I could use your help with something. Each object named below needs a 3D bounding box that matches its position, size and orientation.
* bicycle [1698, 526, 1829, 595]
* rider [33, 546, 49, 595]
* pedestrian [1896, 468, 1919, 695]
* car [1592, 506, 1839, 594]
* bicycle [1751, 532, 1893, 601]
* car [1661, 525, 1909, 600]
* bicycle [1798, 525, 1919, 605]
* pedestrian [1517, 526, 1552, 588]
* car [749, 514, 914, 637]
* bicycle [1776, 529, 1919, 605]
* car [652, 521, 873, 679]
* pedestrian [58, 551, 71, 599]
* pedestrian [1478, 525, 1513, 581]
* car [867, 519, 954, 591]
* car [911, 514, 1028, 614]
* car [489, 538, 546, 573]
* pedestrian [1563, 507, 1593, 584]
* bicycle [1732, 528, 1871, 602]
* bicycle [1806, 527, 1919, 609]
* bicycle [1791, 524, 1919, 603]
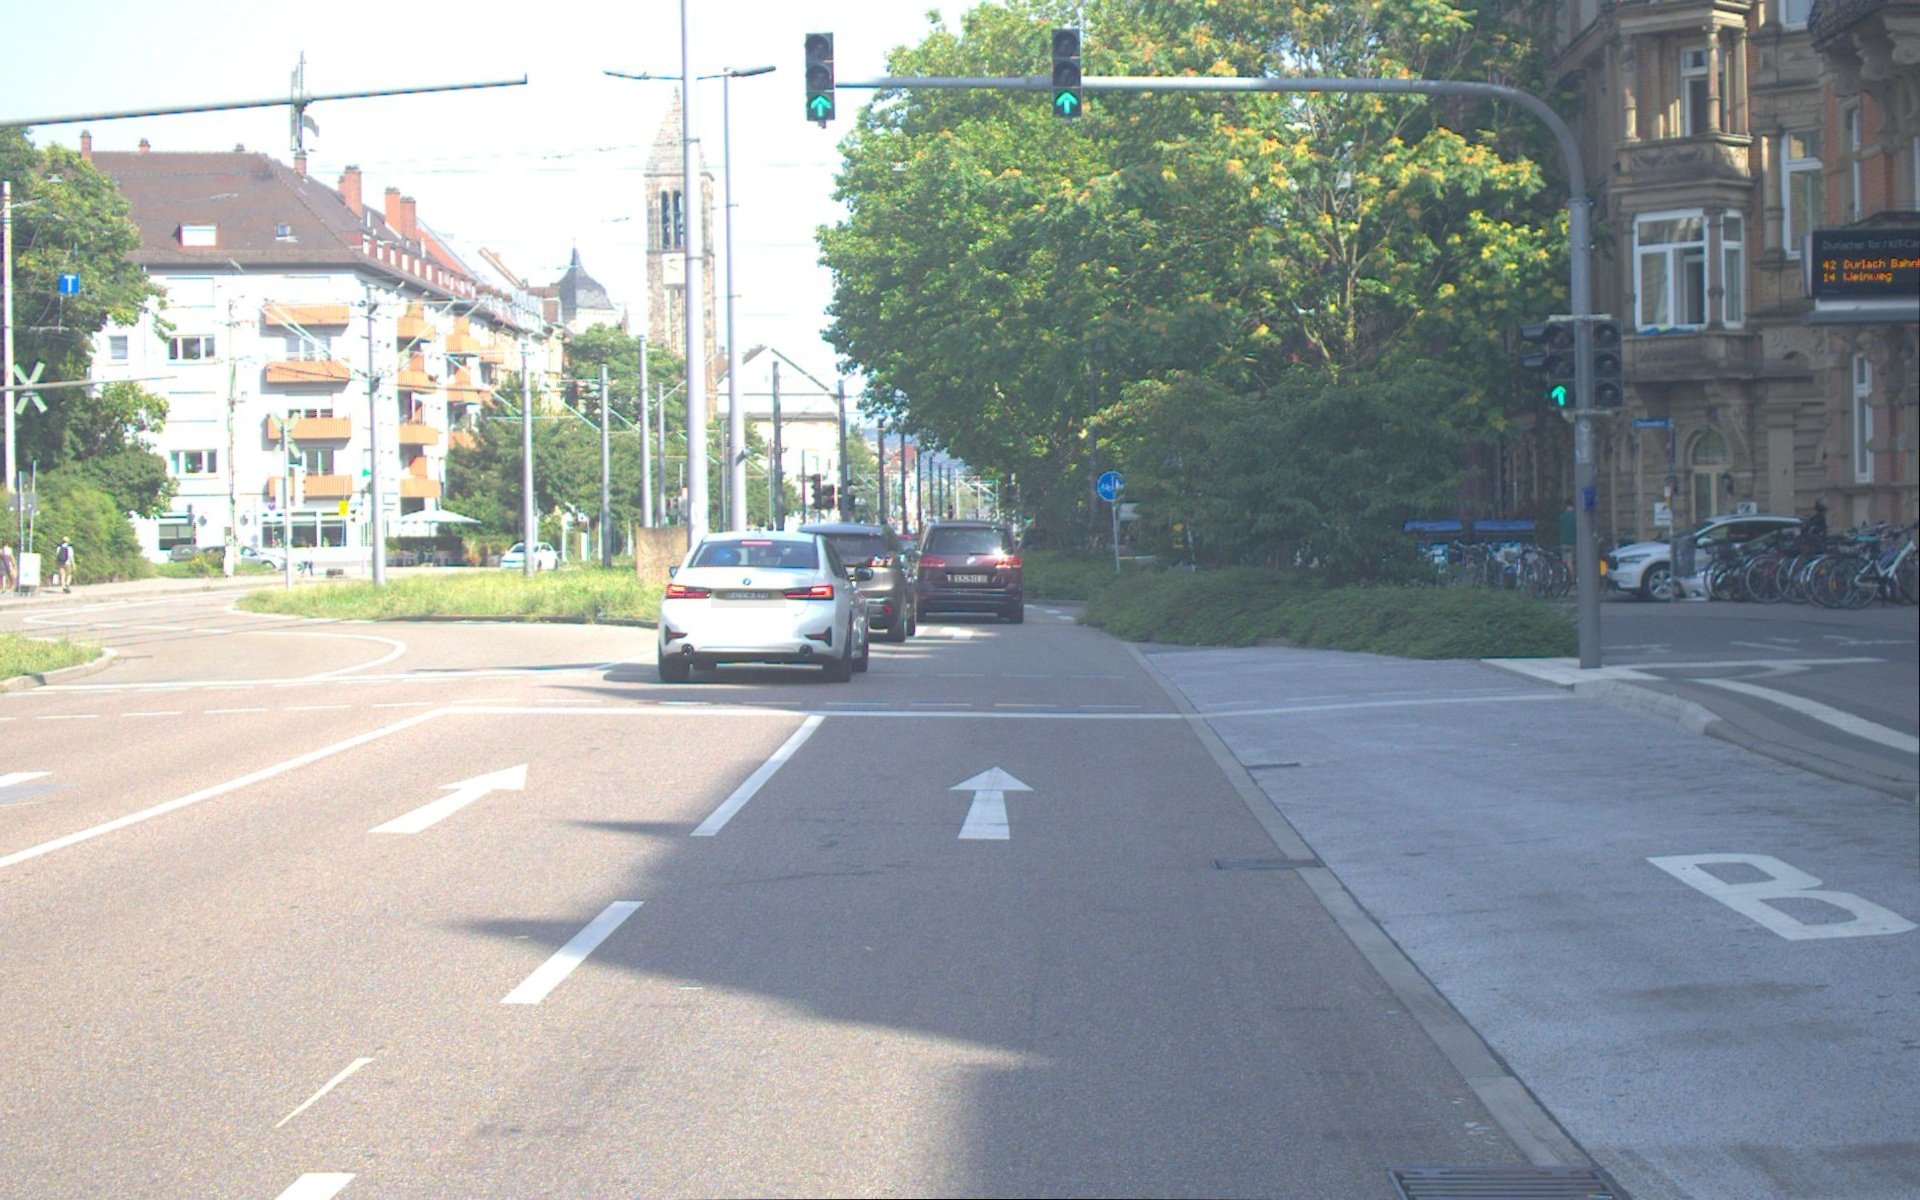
[{"bbox_3d":[12.691,-0.630,54.301,1.928,1.044,0.527,-1,1,-4],"label":"bicycle"},{"bbox_3d":[-26.827,-0.852,100.361,0.307,1.426,0.250,-1,1,21],"label":"rider"},{"bbox_3d":[7.364,-0.150,25.456,0.690,1.658,0.619,-1,1,2],"label":"pedestrian"},{"bbox_3d":[14.362,-0.954,65.485,4.180,1.558,2.000,-1,1,-3],"label":"car"},{"bbox_3d":[12.509,-0.492,49.892,1.928,0.947,0.500,-1,1,-4],"label":"bicycle"},{"bbox_3d":[14.436,-0.665,60.278,3.936,1.218,1.547,-1,1,-3],"label":"car"},{"bbox_3d":[12.443,-0.483,46.800,1.928,1.044,0.500,-1,1,-4],"label":"bicycle"},{"bbox_3d":[11.650,-0.873,69.742,0.598,1.244,0.506,-1,1,1],"label":"pedestrian"},{"bbox_3d":[-1.731,-0.371,47.780,1.993,1.615,4.357,0,1,2],"label":"car"},{"bbox_3d":[12.689,-0.472,49.089,1.928,1.044,0.500,-1,1,-4],"label":"bicycle"},{"bbox_3d":[-1.883,-0.059,34.086,1.809,1.422,4.774,1,1,1],"label":"car"},{"bbox_3d":[-27.953,-0.784,107.291,0.304,1.513,0.341,-1,1,-3],"label":"pedestrian"},{"bbox_3d":[10.409,-0.910,66.795,0.443,1.067,0.487,-2,1,-29],"label":"pedestrian"},{"bbox_3d":[-1.128,-1.060,79.908,1.832,1.615,4.357,0,1,2],"label":"car"},{"bbox_3d":[0.198,-0.626,57.749,1.832,1.615,4.357,0,1,2],"label":"car"},{"bbox_3d":[-19.496,-1.973,151.556,1.993,1.495,4.000,-1,1,0],"label":"car"},{"bbox_3d":[12.180,-1.081,67.785,0.443,1.501,0.487,-1,1,-4],"label":"pedestrian"},{"bbox_3d":[12.517,-0.524,51.168,1.928,1.044,0.527,-1,1,-4],"label":"bicycle"},{"bbox_3d":[12.351,-0.436,45.984,1.928,1.044,0.500,-1,1,-4],"label":"bicycle"},{"bbox_3d":[12.498,-0.509,47.433,1.928,1.044,0.500,-1,1,-4],"label":"bicycle"}]
